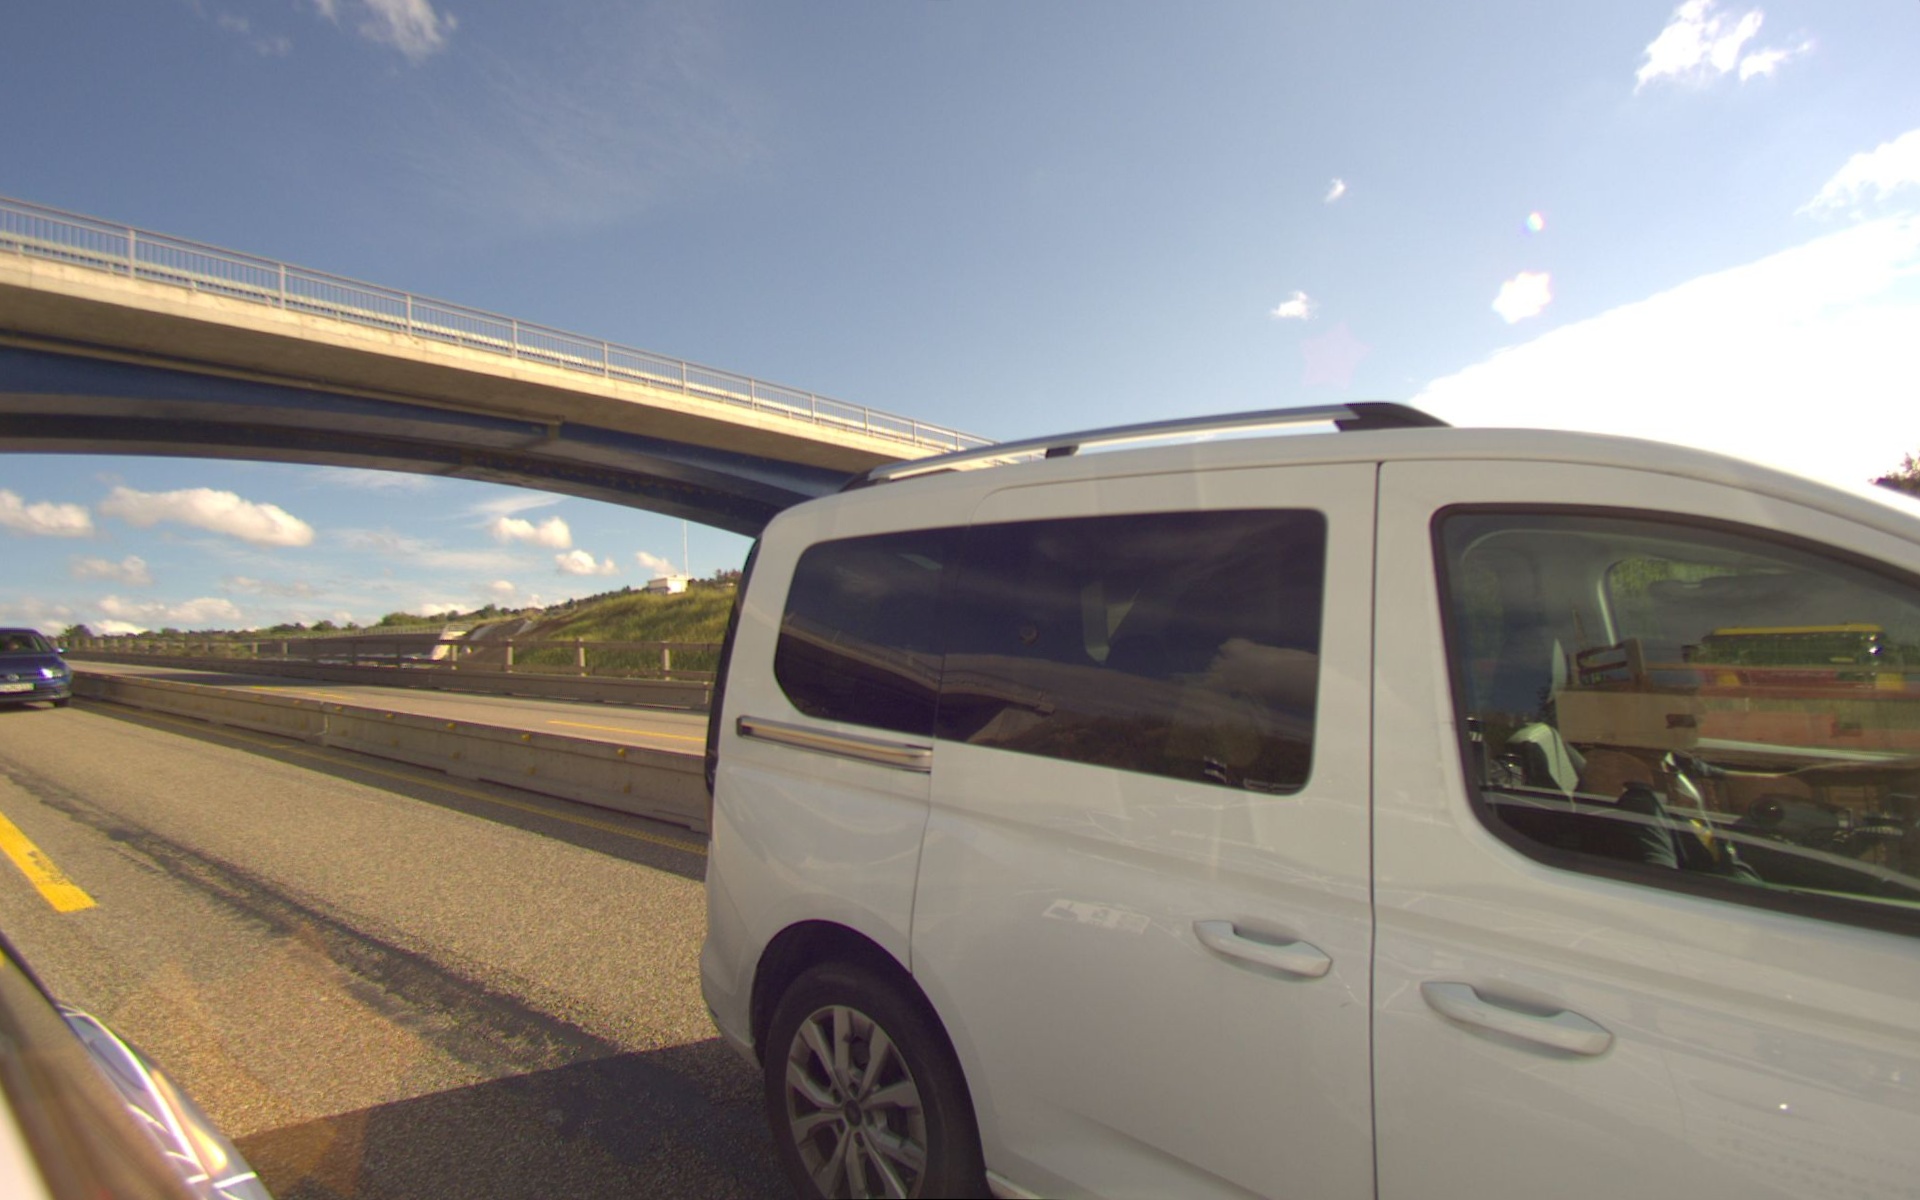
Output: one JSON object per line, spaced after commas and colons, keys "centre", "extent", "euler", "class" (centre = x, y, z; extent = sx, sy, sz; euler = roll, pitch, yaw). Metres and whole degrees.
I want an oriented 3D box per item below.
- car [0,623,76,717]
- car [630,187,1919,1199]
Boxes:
{"centre": [-17.142, 1.193, 17.925], "extent": [3.998, 1.519, 1.697], "euler": [-1, -1, 41], "class": "car"}
{"centre": [1.417, 0.476, 1.931], "extent": [4.452, 1.837, 1.804], "euler": [-2, -1, 40], "class": "car"}
